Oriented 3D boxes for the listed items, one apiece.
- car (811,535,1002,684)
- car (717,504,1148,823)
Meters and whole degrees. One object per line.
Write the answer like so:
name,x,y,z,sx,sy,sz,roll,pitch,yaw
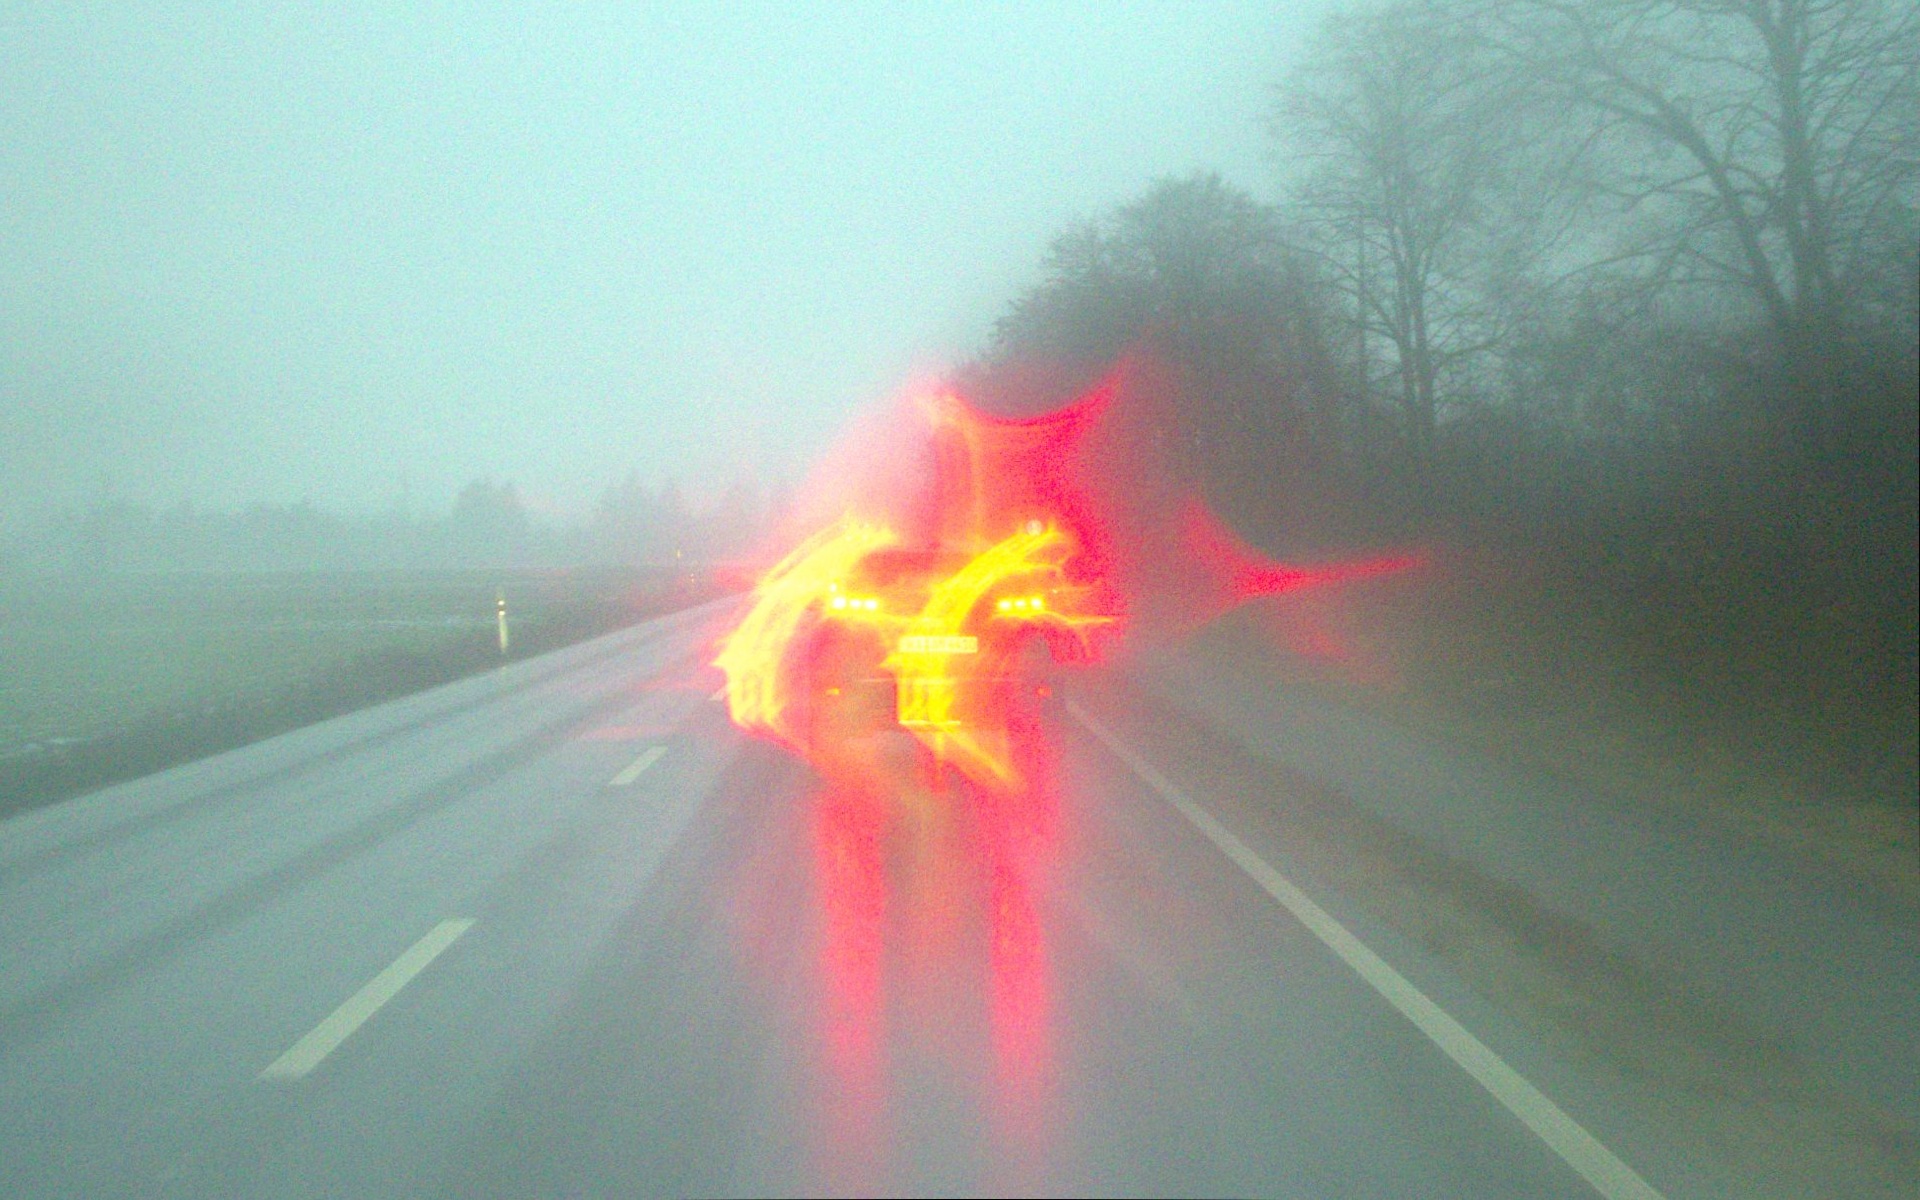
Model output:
car,-0.766,0.099,49.895,2.592,2.007,5.804,1,1,-1
car,-0.216,0.389,25.602,2.820,2.070,5.804,1,1,-1
